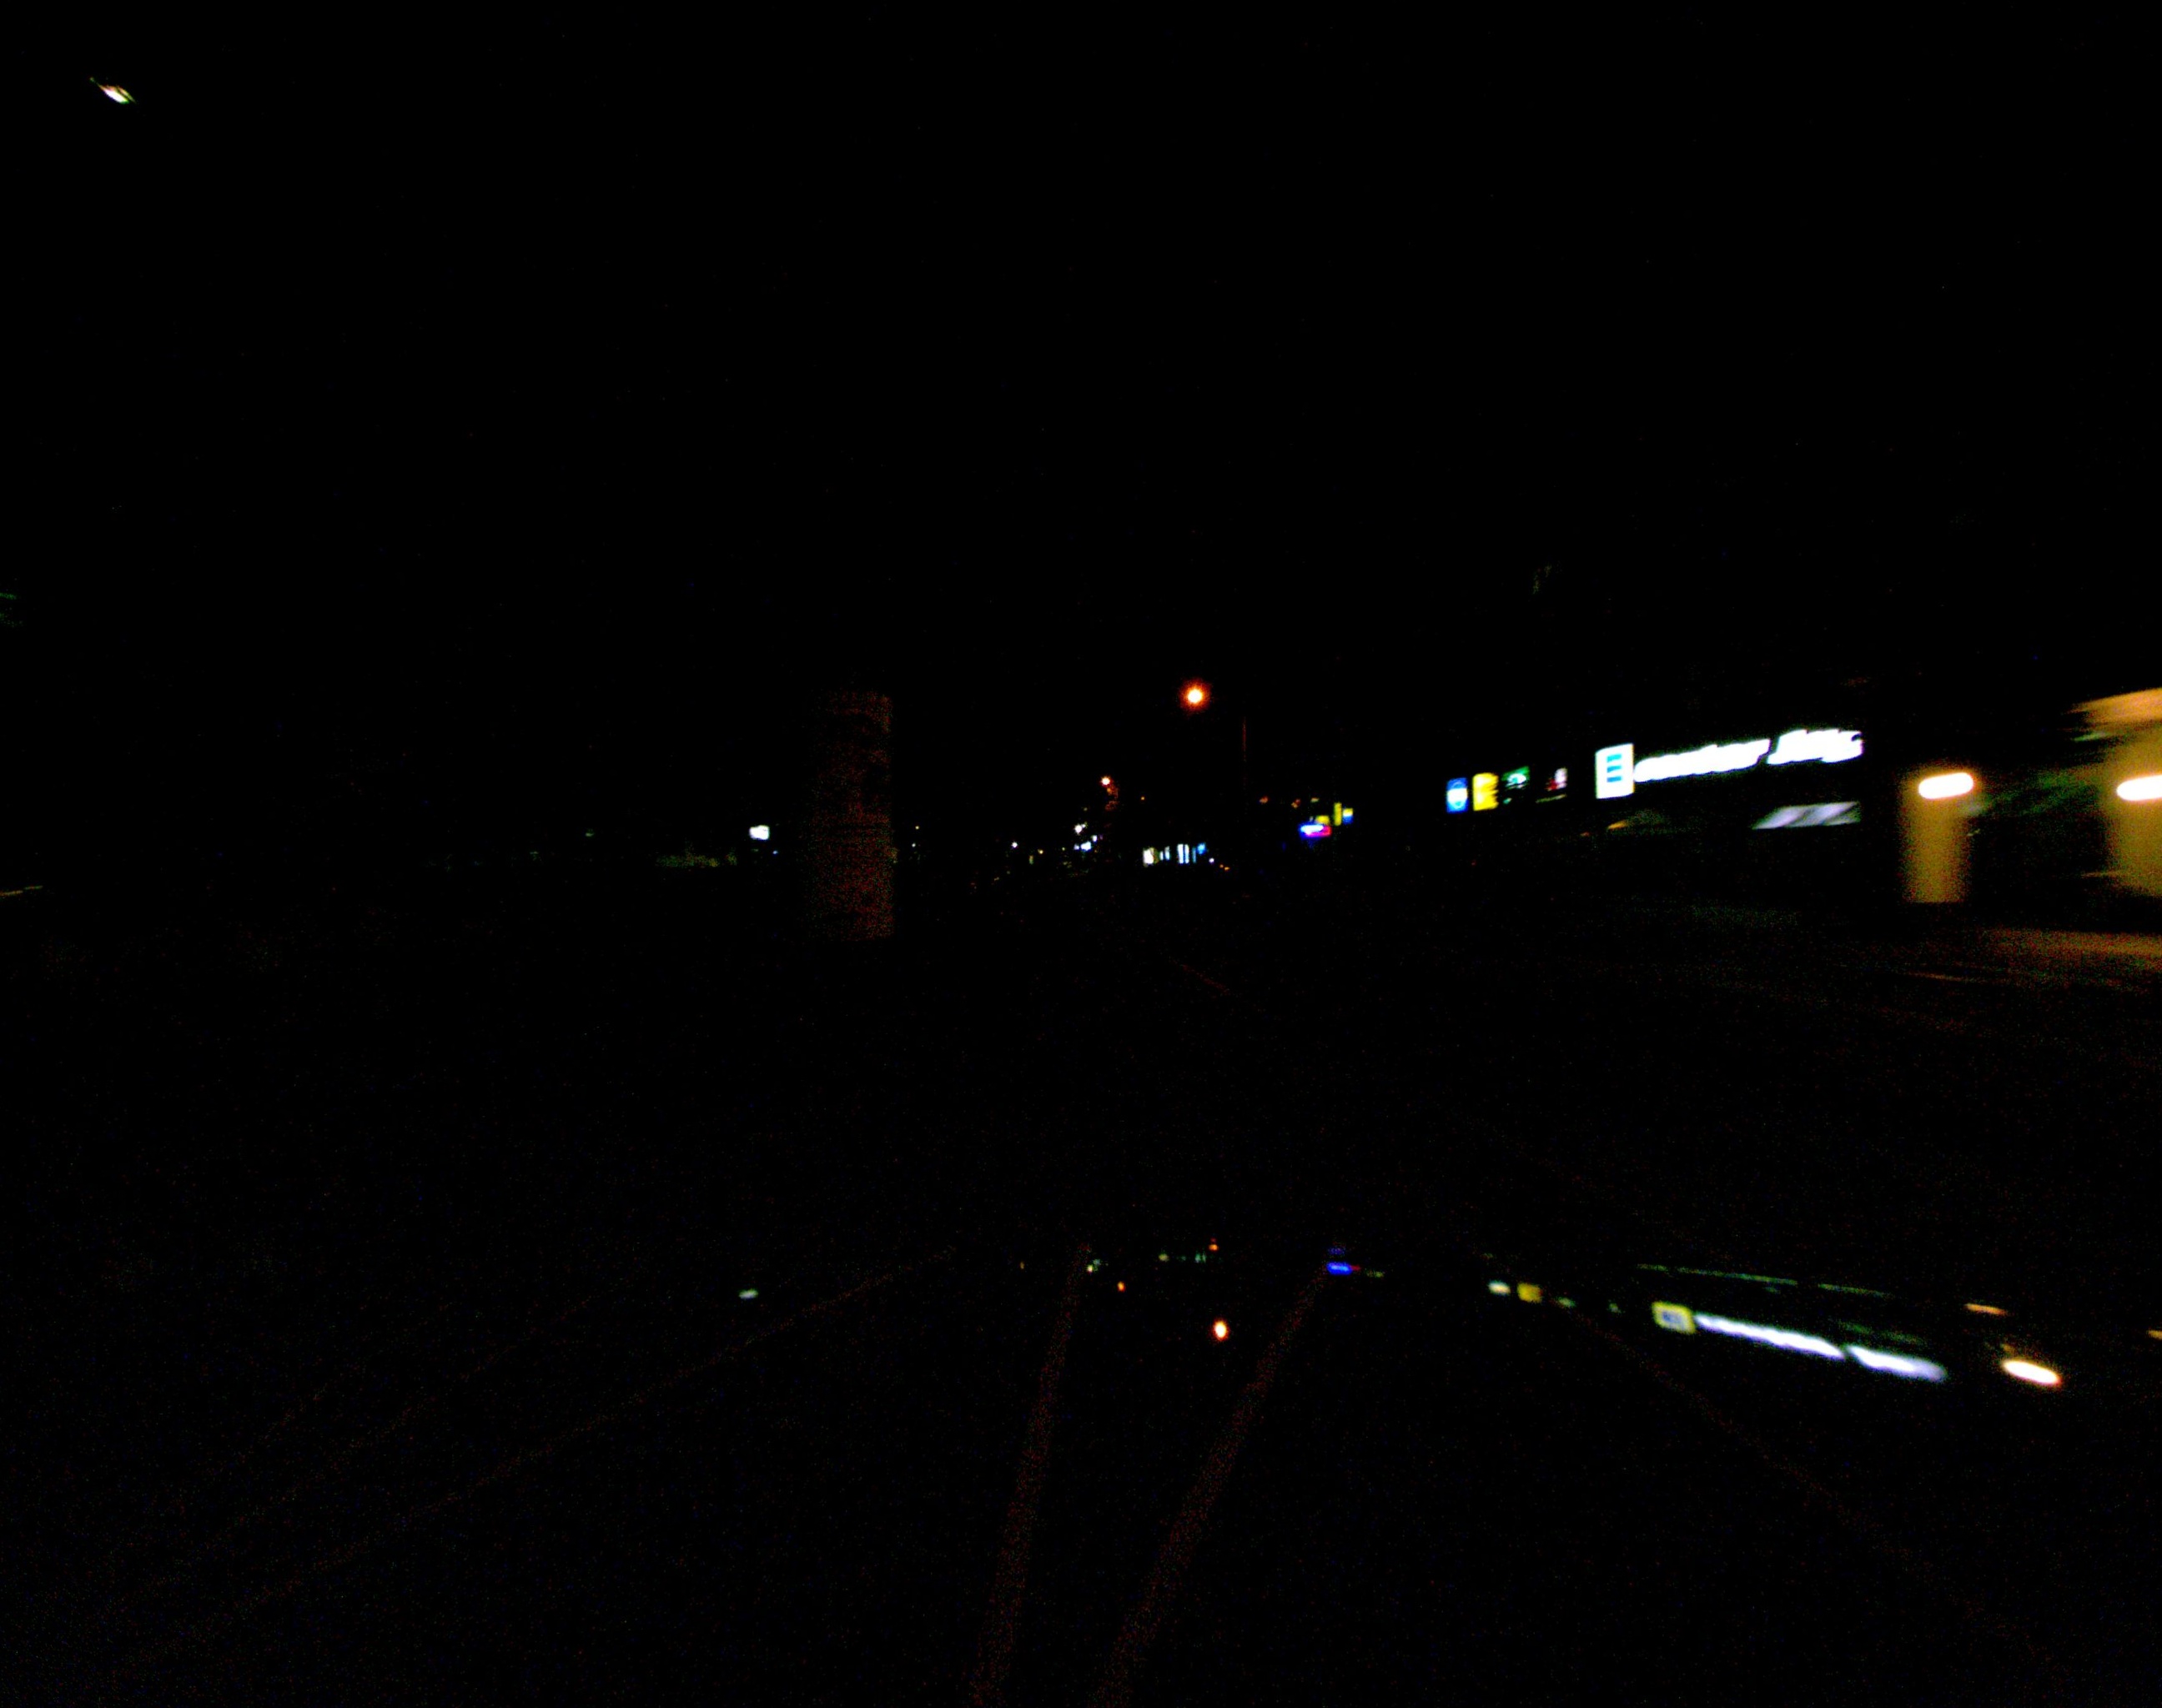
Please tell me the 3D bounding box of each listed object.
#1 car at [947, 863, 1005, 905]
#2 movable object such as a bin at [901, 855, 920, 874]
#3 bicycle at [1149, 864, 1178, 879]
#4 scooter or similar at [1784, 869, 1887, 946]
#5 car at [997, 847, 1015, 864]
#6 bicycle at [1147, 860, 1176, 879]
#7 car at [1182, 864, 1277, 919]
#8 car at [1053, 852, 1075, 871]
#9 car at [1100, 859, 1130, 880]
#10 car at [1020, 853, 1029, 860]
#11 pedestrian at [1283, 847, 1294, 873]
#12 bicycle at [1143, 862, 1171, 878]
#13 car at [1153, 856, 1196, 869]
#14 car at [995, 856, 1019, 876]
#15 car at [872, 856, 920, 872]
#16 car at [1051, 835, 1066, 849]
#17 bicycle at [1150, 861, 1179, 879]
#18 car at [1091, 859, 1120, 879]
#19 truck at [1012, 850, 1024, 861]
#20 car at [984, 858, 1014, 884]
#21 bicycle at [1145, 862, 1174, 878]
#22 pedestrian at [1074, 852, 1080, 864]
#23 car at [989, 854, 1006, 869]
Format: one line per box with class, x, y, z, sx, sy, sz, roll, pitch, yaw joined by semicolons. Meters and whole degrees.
car;-3.840;1.057;28.550;1.769;1.406;4.806;0;0;-3
movable object such as a bin;-12.021;0.732;53.513;1.164;1.363;0.993;-1;1;-5
bicycle;5.464;1.130;50.472;1.856;0.962;0.501;0;0;-4
scooter or similar;12.780;0.877;12.915;0.388;1.214;1.343;0;0;-1
car;-10.643;0.210;107.325;2.142;2.313;5.146;0;0;-11
bicycle;5.465;1.044;51.425;1.856;1.246;0.532;0;0;-4
car;4.349;1.040;23.005;1.746;1.405;4.494;-2;0;-3
car;-2.110;0.881;91.549;1.858;2.075;5.086;-3;0;-9
car;2.423;1.122;55.631;1.727;1.420;3.975;-3;0;-4
car;-13.730;0.619;184.612;1.737;1.492;4.000;0;0;1
pedestrian;12.988;0.367;47.569;0.479;1.627;0.632;-1;1;-3
bicycle;5.294;1.119;53.005;1.856;0.994;0.532;-2;1;-4
car;10.206;0.922;82.855;4.341;1.389;1.802;-1;0;-5
car;-5.953;0.918;61.351;1.775;1.528;4.215;1;0;-3
car;-18.156;0.973;74.760;4.328;1.523;1.802;0;1;-5
car;-3.425;-1.851;115.998;1.930;1.954;5.074;-2;0;-5
bicycle;5.489;1.071;49.921;1.856;1.159;0.532;0;0;-4
car;1.927;1.197;61.097;1.812;1.416;4.919;-3;0;-4
truck;-14.065;0.315;169.070;2.110;2.230;6.287;0;0;1
car;-5.083;1.058;47.509;1.694;1.528;4.014;0;0;-3
bicycle;5.403;1.107;52.163;1.856;1.029;0.532;-2;1;-4
pedestrian;-0.586;0.548;109.454;0.720;1.795;0.716;0;1;-4
car;-9.739;0.854;88.959;1.794;1.811;4.577;0;0;-5
